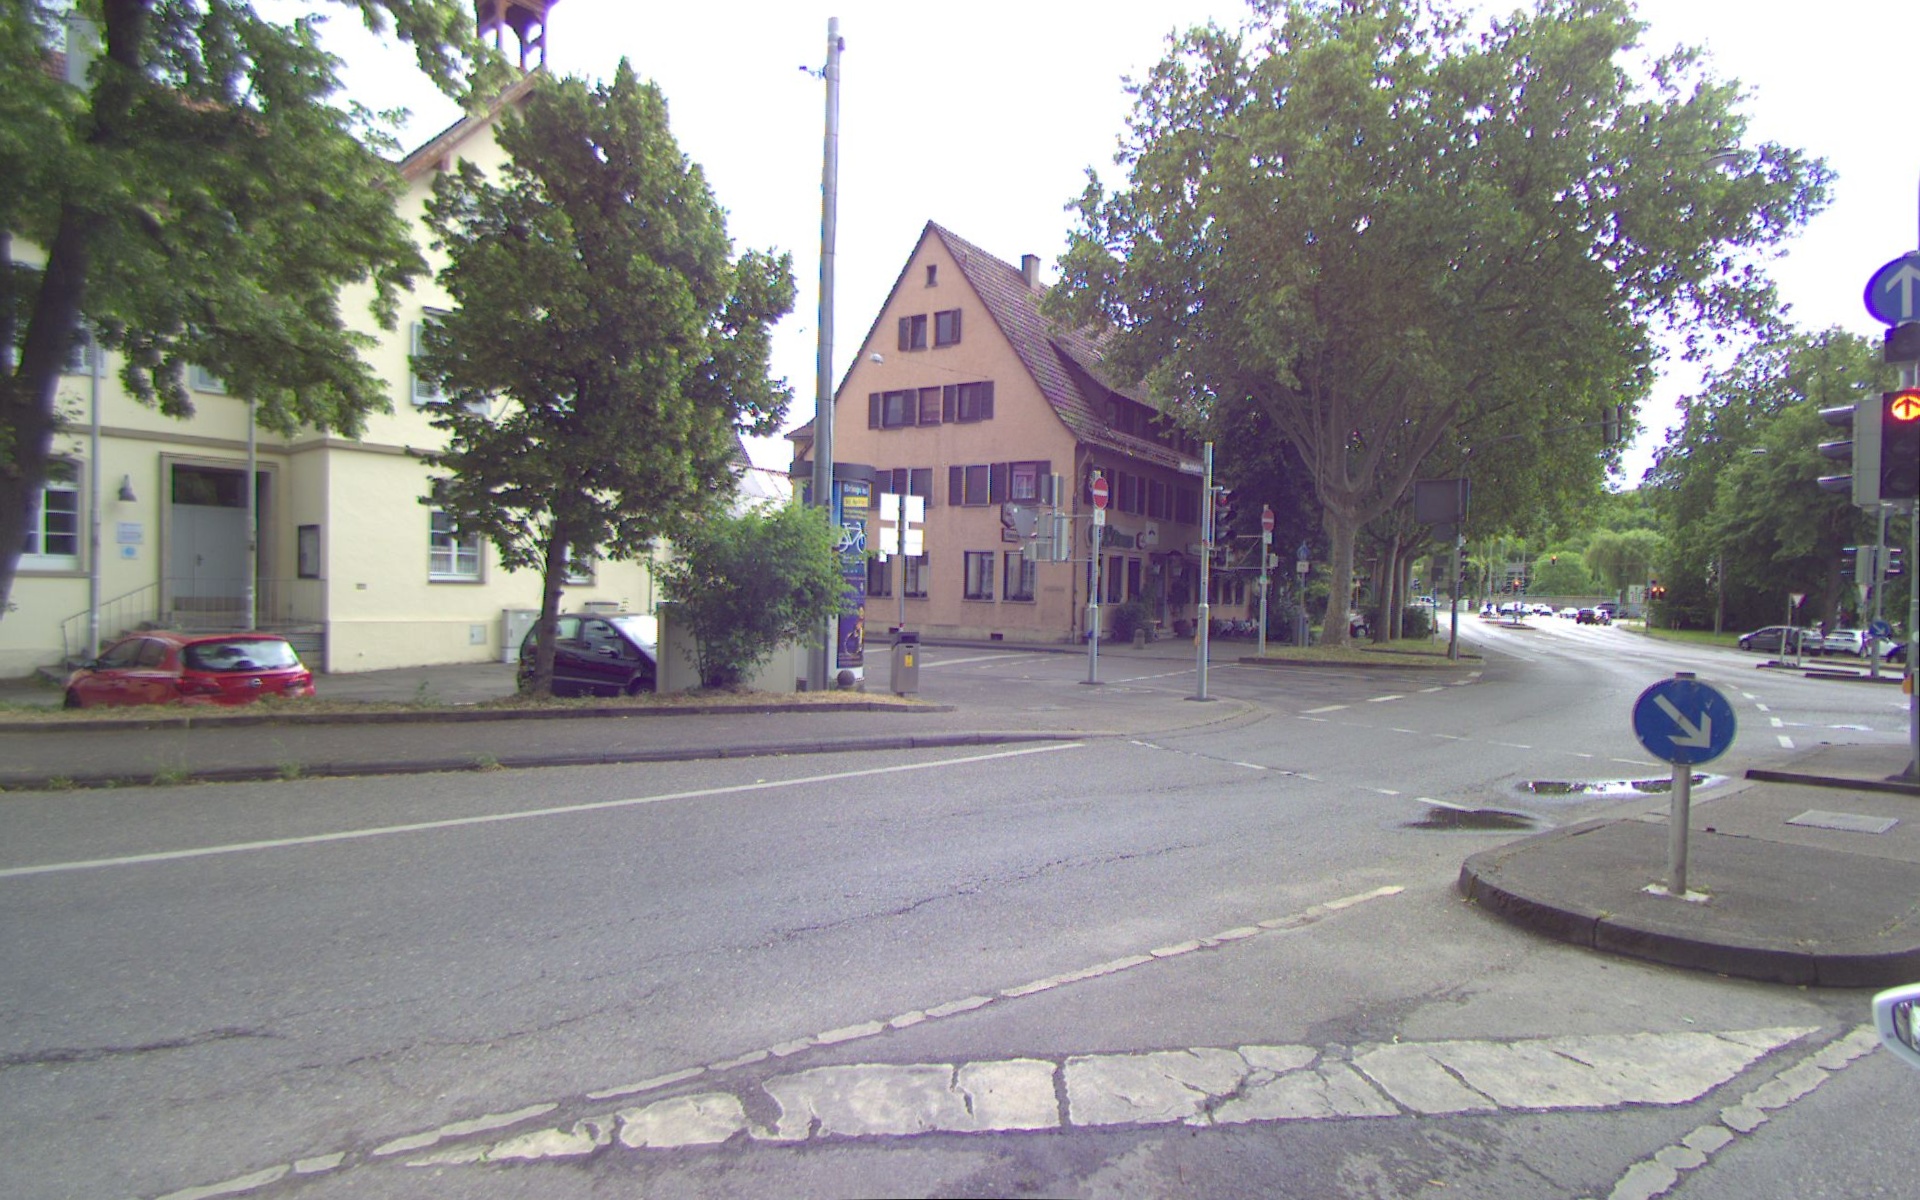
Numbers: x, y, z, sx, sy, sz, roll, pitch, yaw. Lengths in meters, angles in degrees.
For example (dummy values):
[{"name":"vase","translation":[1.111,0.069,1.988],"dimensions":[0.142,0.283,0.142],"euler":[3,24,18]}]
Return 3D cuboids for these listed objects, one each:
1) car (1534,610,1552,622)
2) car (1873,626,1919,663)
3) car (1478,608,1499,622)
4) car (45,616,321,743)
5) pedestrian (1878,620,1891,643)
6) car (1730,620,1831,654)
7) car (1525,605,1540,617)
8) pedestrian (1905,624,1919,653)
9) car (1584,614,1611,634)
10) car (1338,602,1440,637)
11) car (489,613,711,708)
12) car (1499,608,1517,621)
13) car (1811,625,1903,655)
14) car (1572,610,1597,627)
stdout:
[{"name":"car","translation":[88.026,2.344,151.580],"dimensions":[1.967,1.677,4.412],"euler":[2,1,35]},{"name":"car","translation":[39.600,1.869,40.936],"dimensions":[1.542,1.423,3.493],"euler":[2,1,-1]},{"name":"car","translation":[63.576,1.779,120.888],"dimensions":[1.738,1.486,4.010],"euler":[6,3,34]},{"name":"car","translation":[-10.268,0.953,13.242],"dimensions":[3.564,1.371,1.597],"euler":[2,0,29]},{"name":"pedestrian","translation":[64.155,2.155,69.694],"dimensions":[0.504,1.552,0.775],"euler":[3,1,38]},{"name":"car","translation":[44.145,1.958,54.178],"dimensions":[1.701,1.448,4.106],"euler":[2,2,-7]},{"name":"car","translation":[100.141,1.925,175.700],"dimensions":[1.963,2.040,3.996],"euler":[2,0,26]},{"name":"pedestrian","translation":[54.251,2.185,57.018],"dimensions":[0.673,1.572,0.741],"euler":[2,1,29]},{"name":"car","translation":[64.820,2.407,102.115],"dimensions":[1.969,1.951,3.983],"euler":[2,0,38]},{"name":"car","translation":[24.956,1.115,58.615],"dimensions":[5.137,1.957,2.085],"euler":[0,0,11]},{"name":"car","translation":[-5.921,0.934,16.507],"dimensions":[3.335,1.327,1.482],"euler":[2,0,25]},{"name":"car","translation":[73.345,1.913,134.489],"dimensions":[1.772,1.608,4.402],"euler":[0,1,34]},{"name":"car","translation":[47.697,2.125,53.432],"dimensions":[4.194,1.399,1.758],"euler":[2,1,-18]},{"name":"car","translation":[59.014,1.727,94.975],"dimensions":[1.796,1.529,4.566],"euler":[1,0,30]}]
